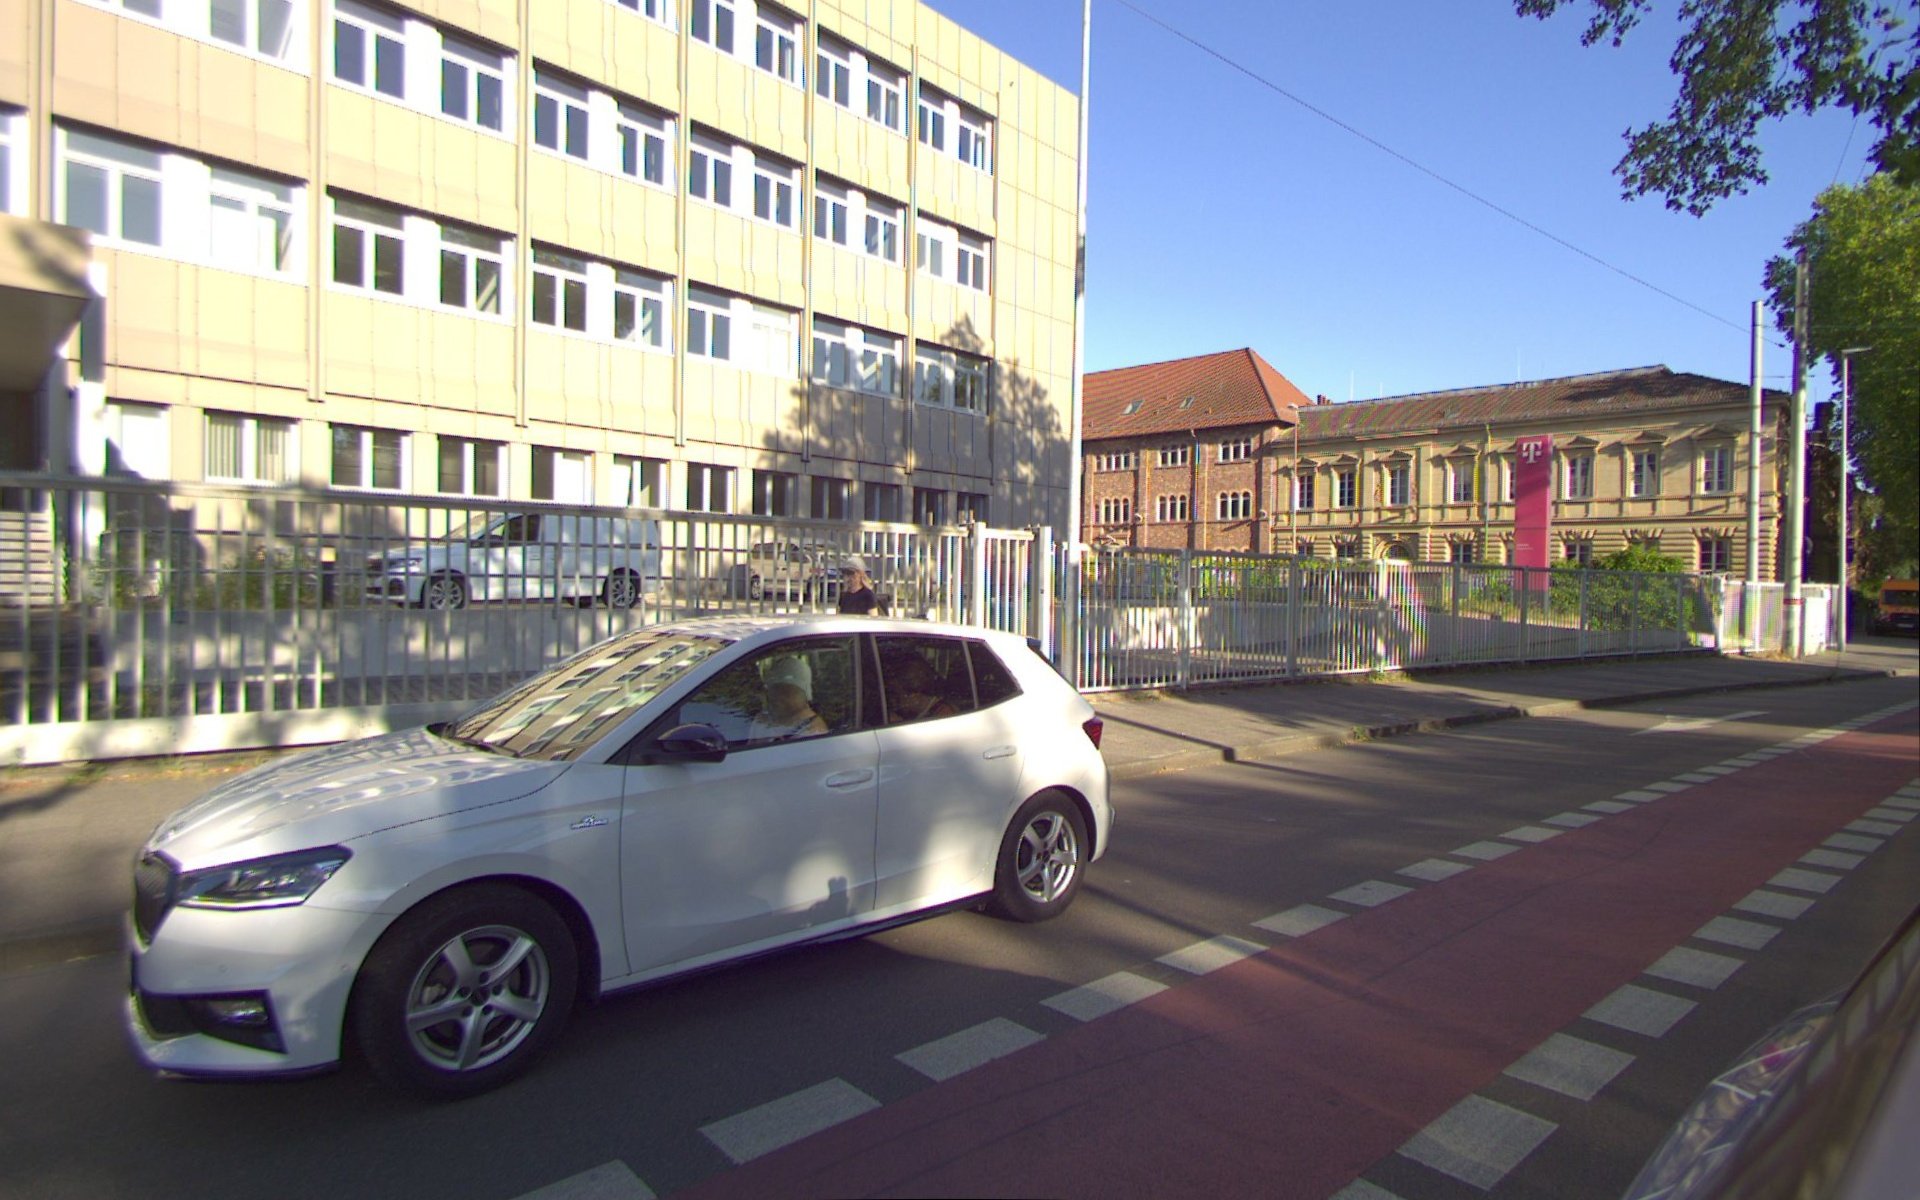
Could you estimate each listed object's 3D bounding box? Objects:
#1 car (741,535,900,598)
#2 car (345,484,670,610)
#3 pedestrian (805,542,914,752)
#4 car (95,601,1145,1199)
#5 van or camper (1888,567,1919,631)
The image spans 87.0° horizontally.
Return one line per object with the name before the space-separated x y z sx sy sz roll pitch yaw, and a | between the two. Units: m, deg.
car | -3.930 -0.919 27.994 4.563 1.601 1.968 2 2 44
car | -7.592 -0.821 17.330 1.994 1.865 4.709 2 2 44
pedestrian | -0.900 0.390 9.086 0.757 1.784 0.592 0 1 -41
car | -1.106 0.725 4.401 4.005 1.406 1.703 0 0 -42
van or camper | 41.135 -0.062 43.242 1.994 2.626 5.537 0 0 44
